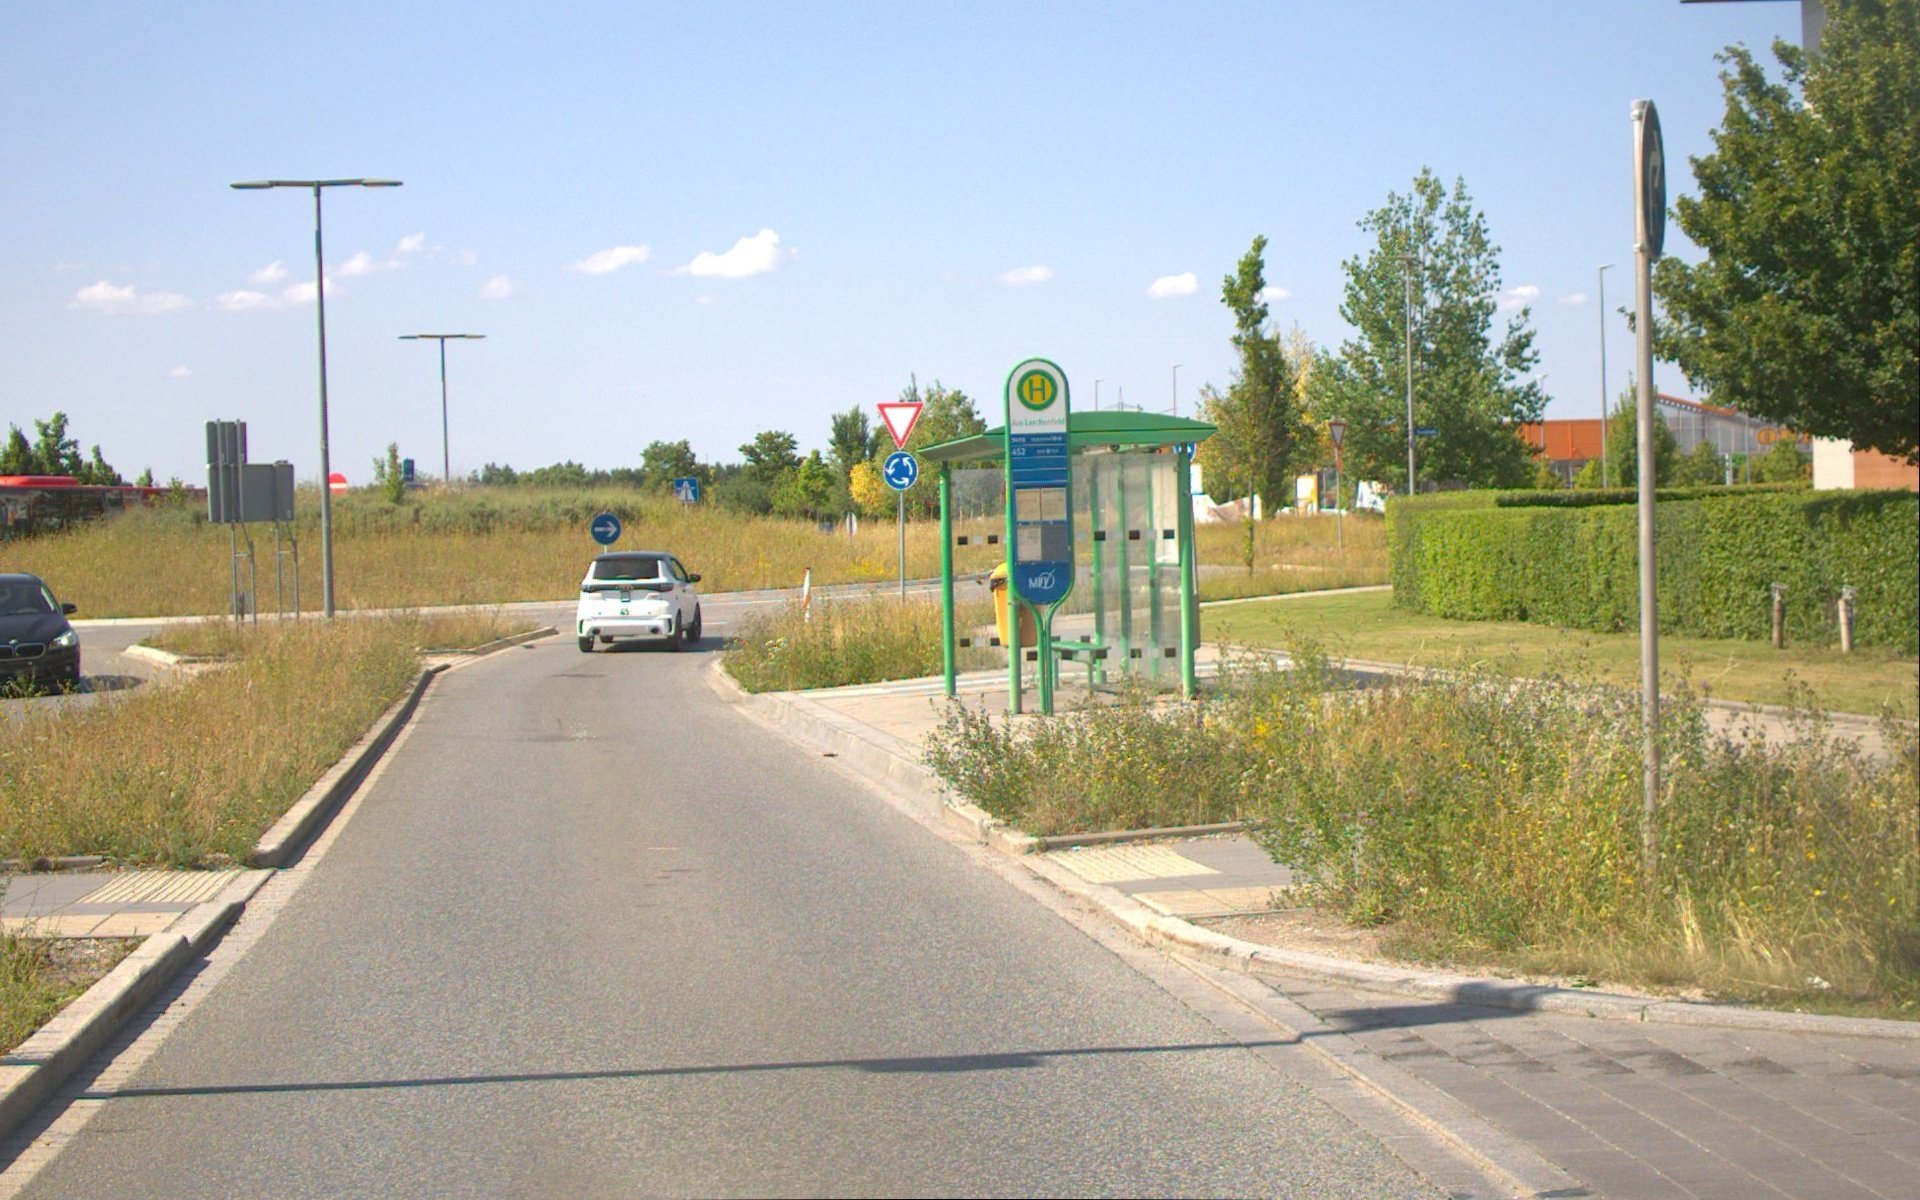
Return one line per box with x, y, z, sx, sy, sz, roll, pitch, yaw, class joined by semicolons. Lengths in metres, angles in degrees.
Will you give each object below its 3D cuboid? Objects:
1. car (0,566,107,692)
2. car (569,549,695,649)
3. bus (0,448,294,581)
-12.591;0.374;45.887;1.758;1.538;4.242;-4;1;-7;car
-4.955;-0.040;52.345;1.616;1.429;3.793;-1;1;-1;car
-22.720;-2.334;91.665;2.791;3.068;12.187;-1;3;26;bus
